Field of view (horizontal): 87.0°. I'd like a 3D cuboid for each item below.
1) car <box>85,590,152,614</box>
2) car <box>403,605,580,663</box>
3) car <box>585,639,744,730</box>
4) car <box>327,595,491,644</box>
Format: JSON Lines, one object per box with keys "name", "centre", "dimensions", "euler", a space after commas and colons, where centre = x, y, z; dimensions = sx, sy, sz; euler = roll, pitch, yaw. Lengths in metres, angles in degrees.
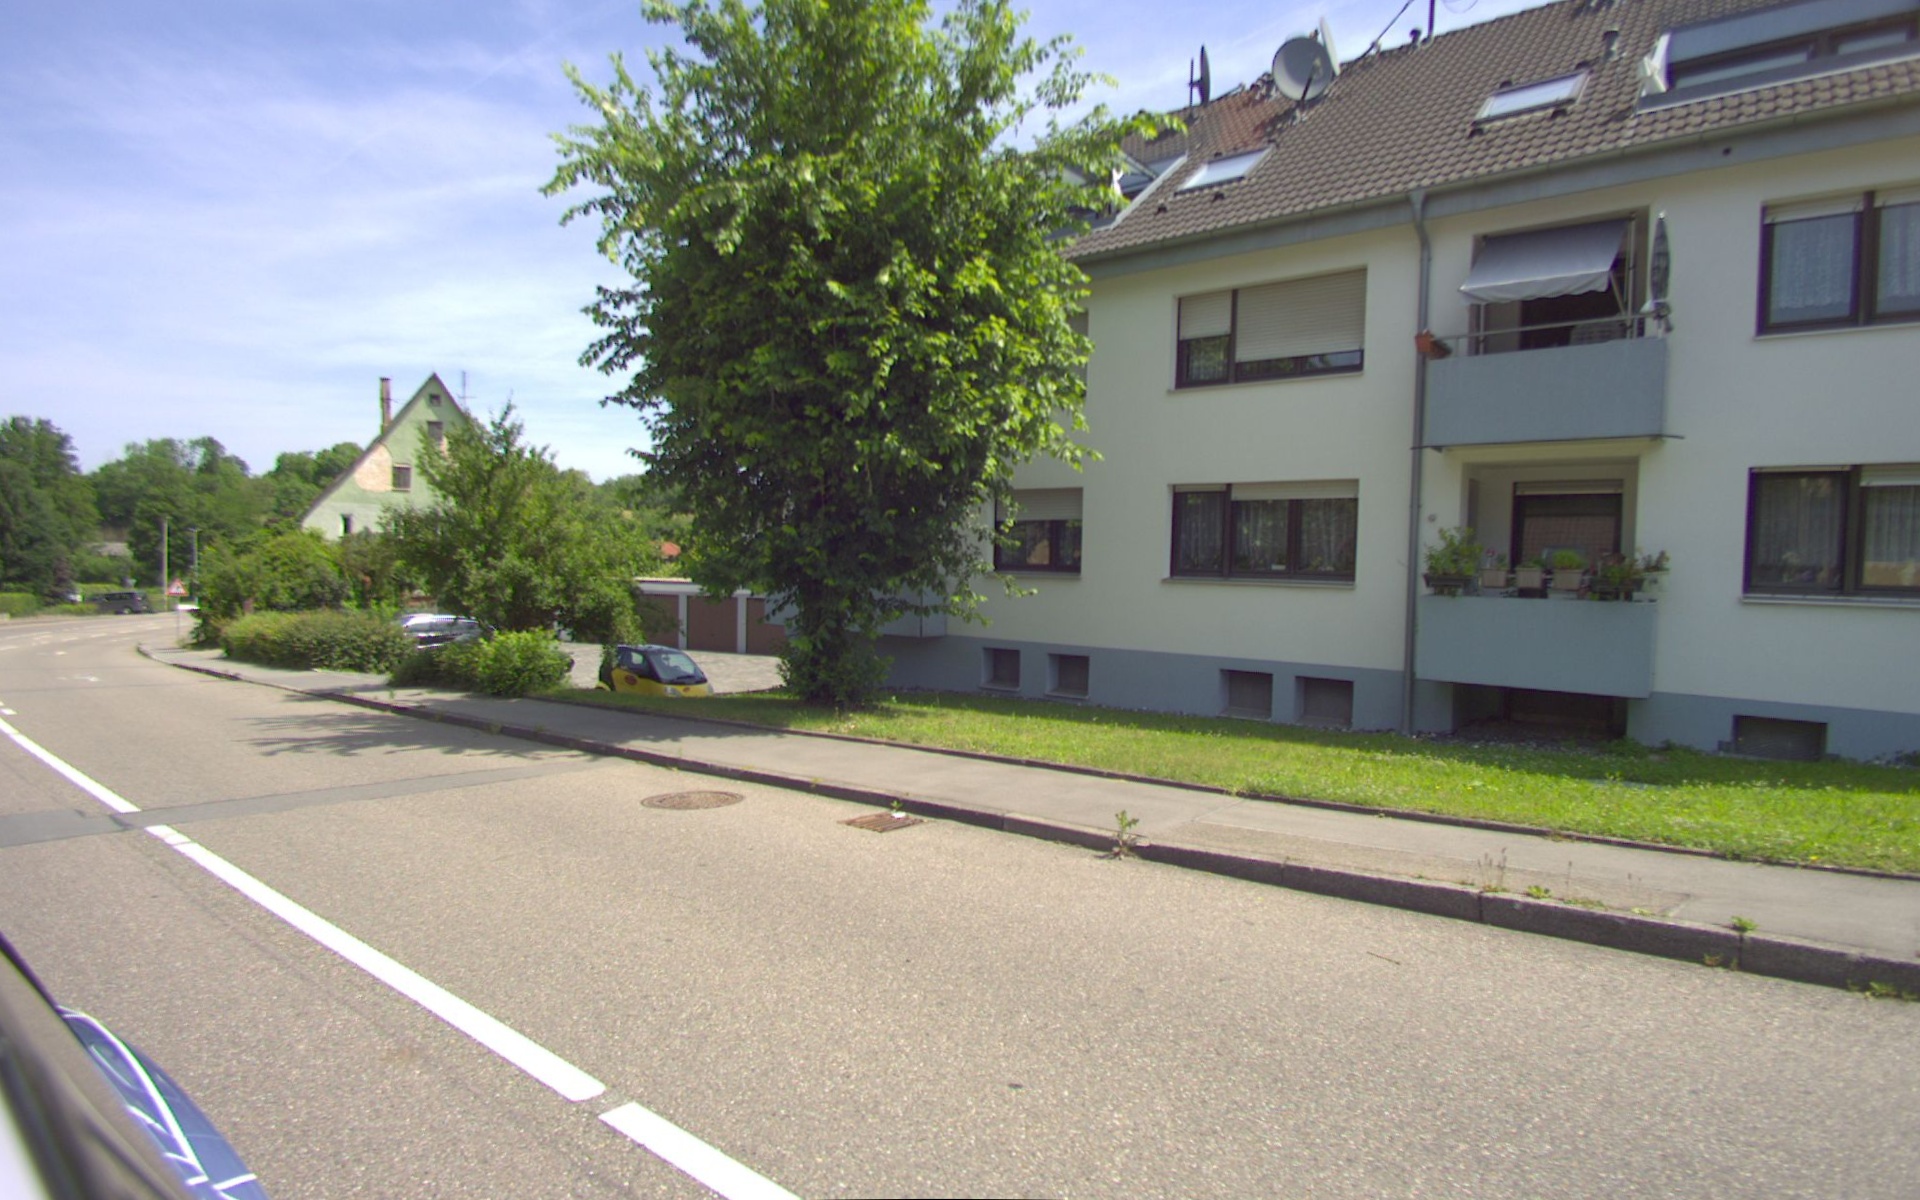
{"name": "car", "centre": [-70.663, 0.177, 85.038], "dimensions": [3.844, 1.964, 1.961], "euler": [0, 0, -16]}
{"name": "car", "centre": [-12.500, 0.941, 27.192], "dimensions": [1.645, 1.256, 3.916], "euler": [0, -5, 41]}
{"name": "car", "centre": [-6.221, 1.698, 21.198], "dimensions": [3.226, 1.551, 1.458], "euler": [3, 1, 35]}
{"name": "car", "centre": [-16.731, 0.556, 30.842], "dimensions": [1.998, 1.397, 3.948], "euler": [0, 0, 38]}
